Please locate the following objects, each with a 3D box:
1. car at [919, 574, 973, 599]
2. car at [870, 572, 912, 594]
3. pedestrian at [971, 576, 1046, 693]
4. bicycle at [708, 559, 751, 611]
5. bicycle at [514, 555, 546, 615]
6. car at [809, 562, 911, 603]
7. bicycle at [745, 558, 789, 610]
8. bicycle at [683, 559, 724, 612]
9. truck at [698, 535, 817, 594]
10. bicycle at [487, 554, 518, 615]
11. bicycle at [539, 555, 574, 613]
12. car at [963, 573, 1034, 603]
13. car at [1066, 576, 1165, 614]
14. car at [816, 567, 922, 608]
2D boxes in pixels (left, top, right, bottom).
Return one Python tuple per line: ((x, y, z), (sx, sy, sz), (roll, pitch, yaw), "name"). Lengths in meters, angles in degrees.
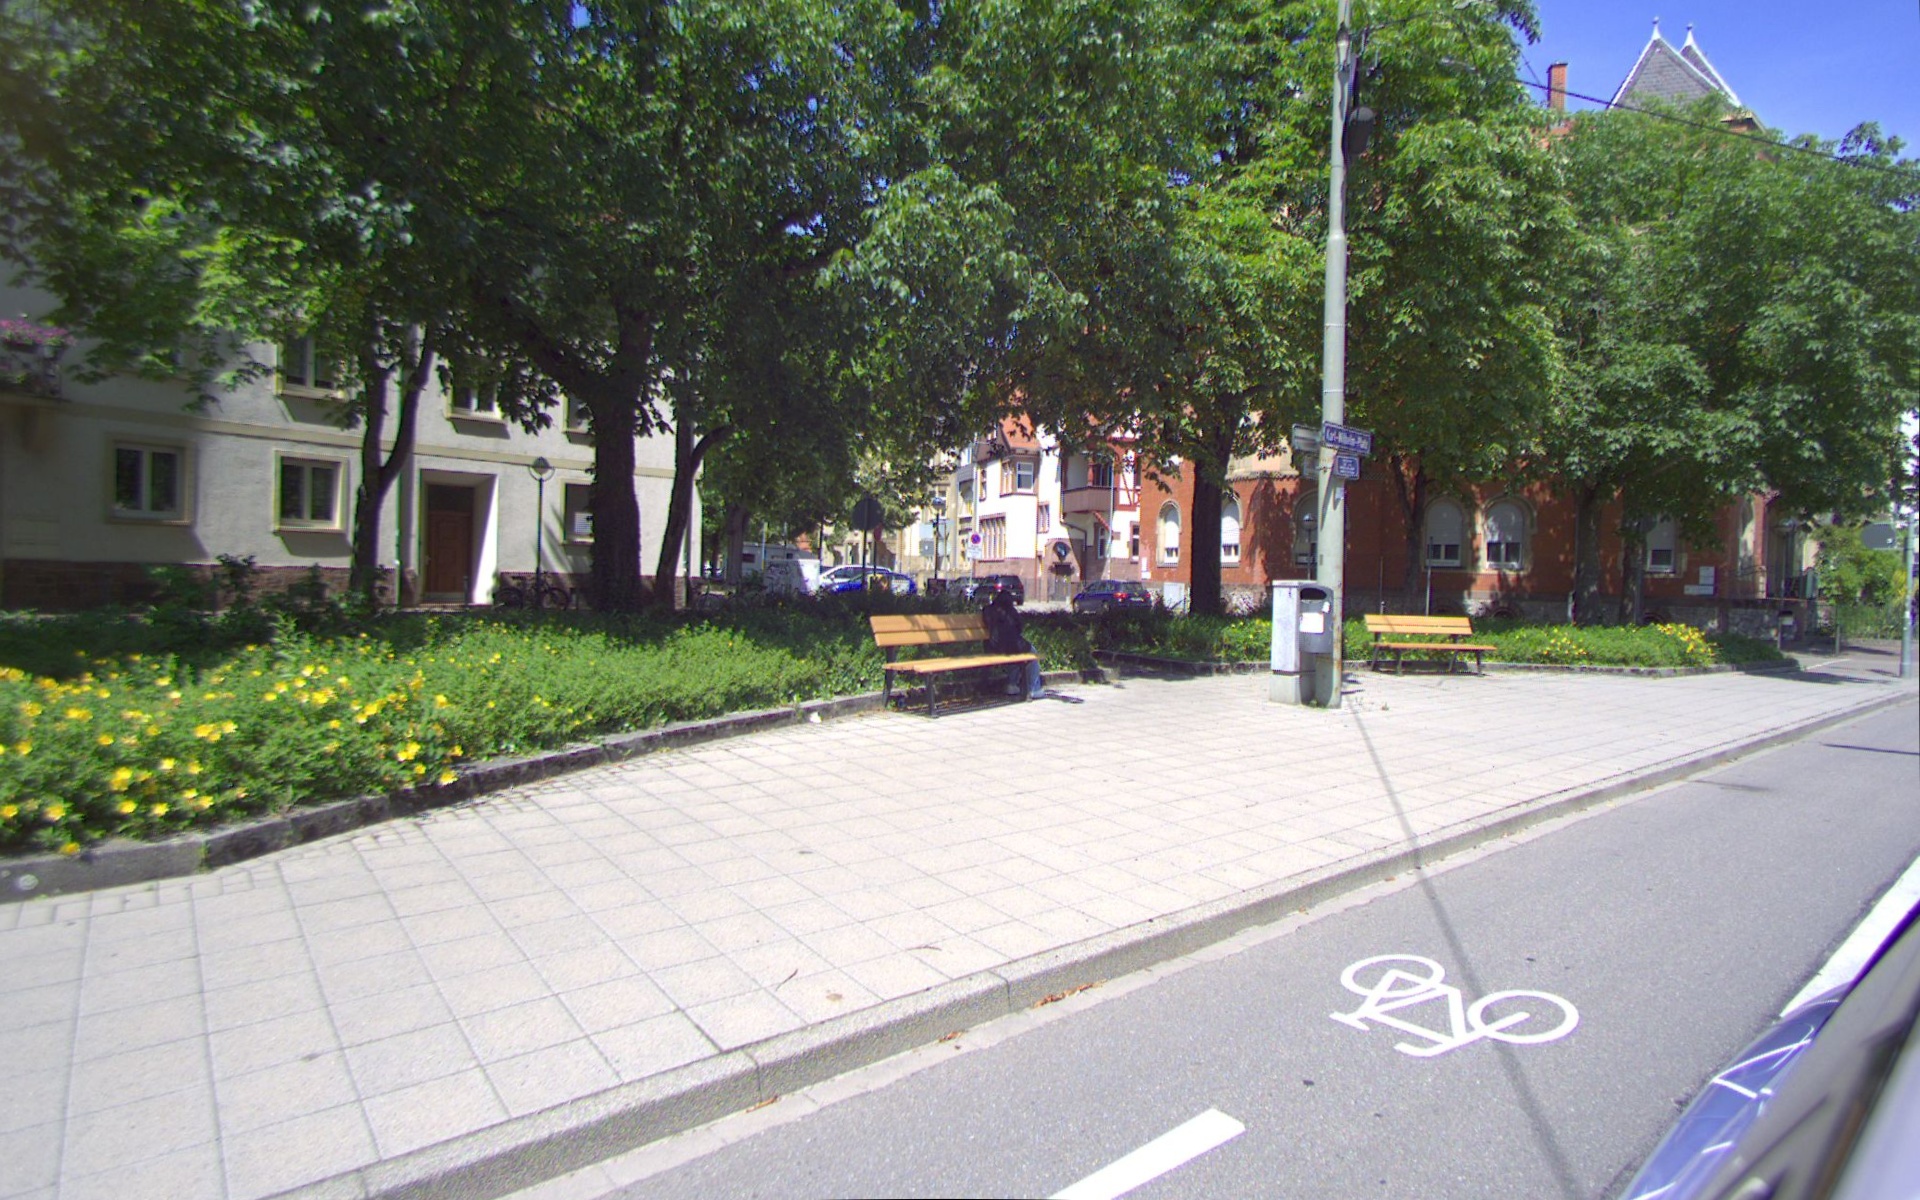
((-0.927, -0.883, 63.456), (1.865, 1.482, 4.626), (0, 1, -21), "car")
((-5.101, -1.250, 74.458), (1.865, 1.575, 4.411), (0, 1, -21), "car")
((0.476, 0.332, 10.030), (0.469, 1.105, 0.511), (2, 2, -34), "pedestrian")
((-6.097, -0.401, 26.699), (0.536, 1.316, 2.162), (0, 1, -28), "bicycle")
((-10.209, -0.364, 23.983), (0.505, 1.364, 2.247), (0, 1, -28), "bicycle")
((-4.453, -0.772, 45.229), (4.176, 1.673, 1.731), (2, 0, -21), "car")
((-5.166, -0.438, 27.012), (0.536, 1.316, 2.162), (0, 1, -28), "bicycle")
((-6.702, -0.390, 26.393), (0.536, 1.316, 2.162), (0, 1, -28), "bicycle")
((-12.091, -2.099, 60.626), (6.685, 3.193, 1.939), (2, 0, -19), "truck")
((-10.736, -0.366, 23.733), (0.505, 1.361, 2.332), (0, 1, -28), "bicycle")
((-9.587, -0.381, 23.998), (0.536, 1.316, 2.162), (0, 1, -28), "bicycle")
((1.986, -0.679, 54.548), (1.946, 1.551, 5.503), (0, 1, -19), "car")
((6.227, -0.250, 41.192), (1.865, 1.459, 4.769), (0, 1, -21), "car")
((-3.614, -0.496, 40.004), (3.807, 1.447, 1.731), (2, 0, -21), "car")
